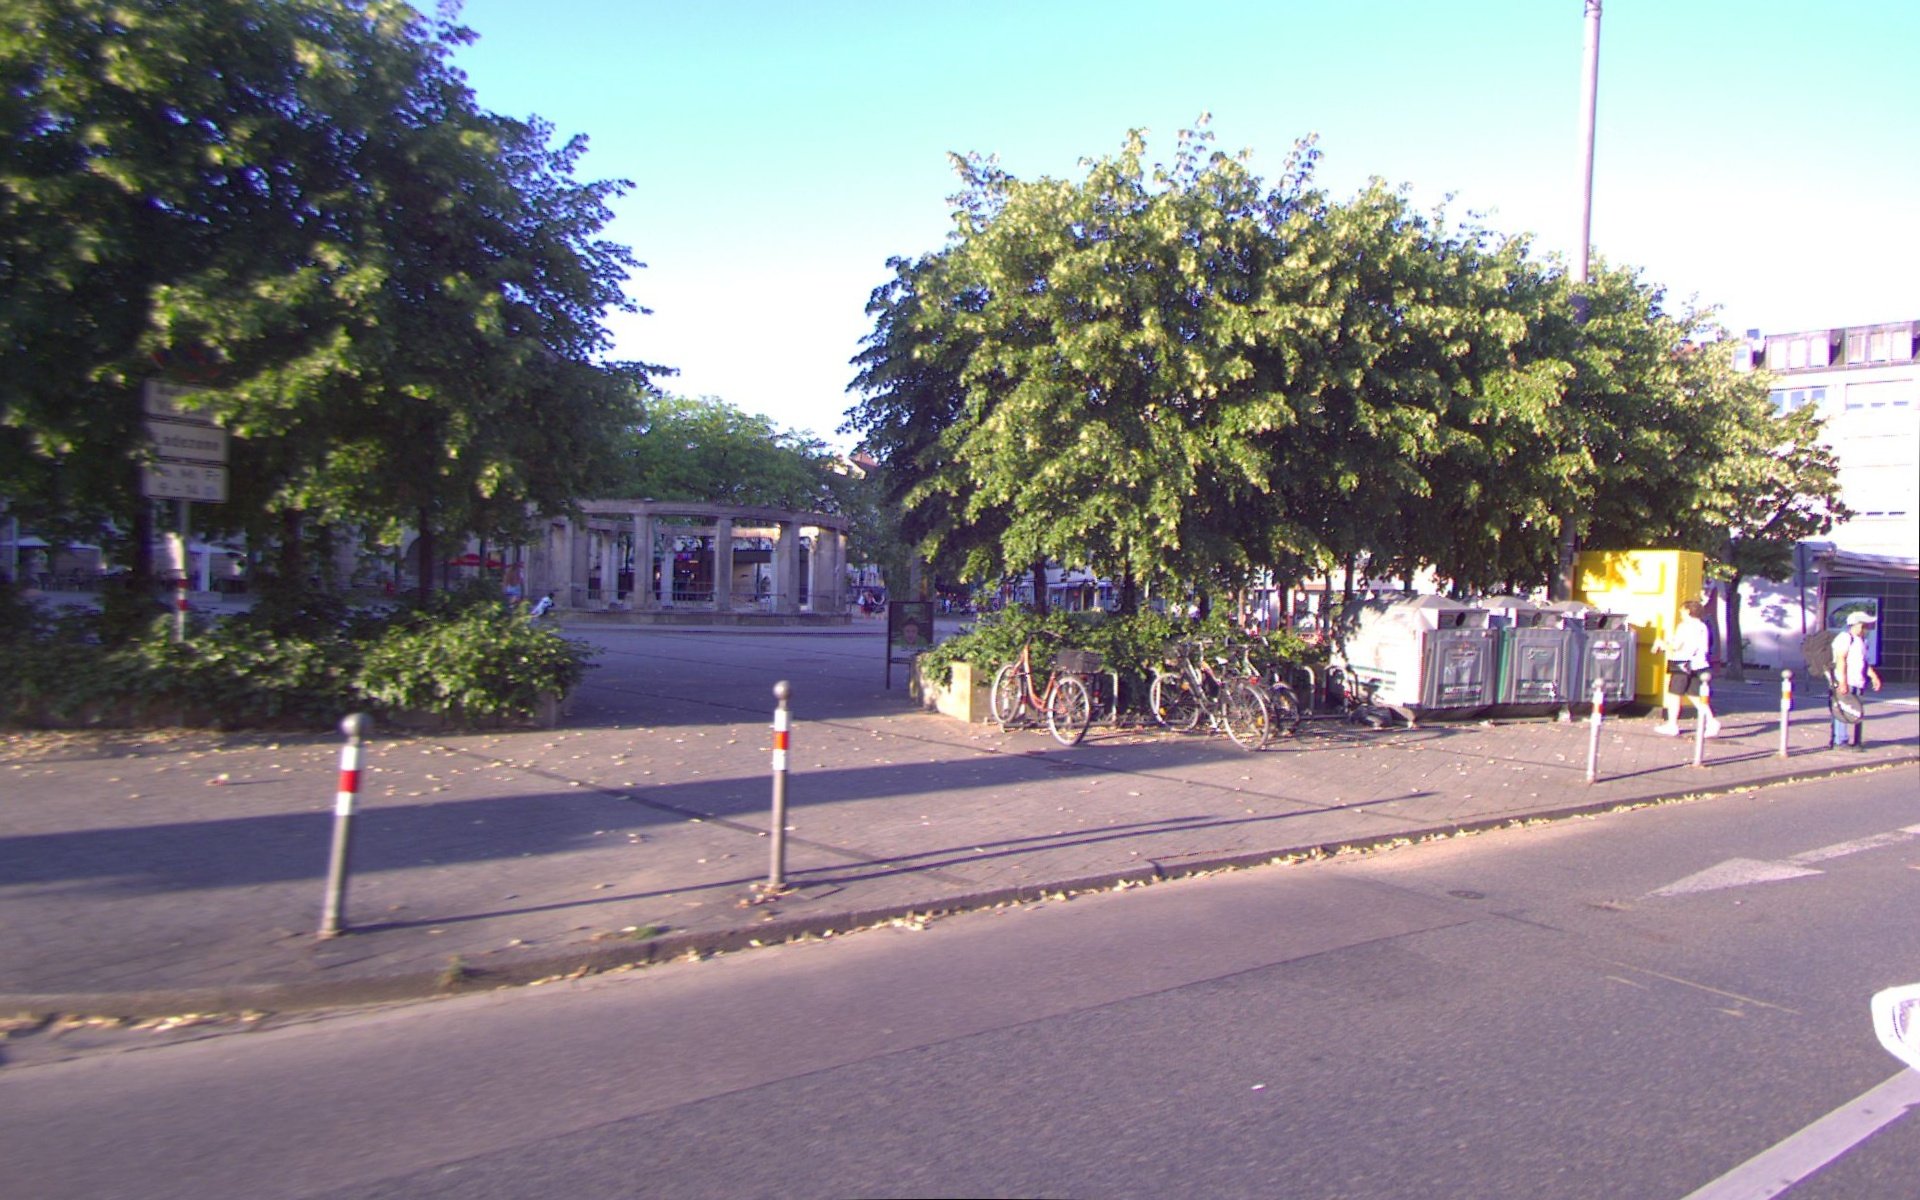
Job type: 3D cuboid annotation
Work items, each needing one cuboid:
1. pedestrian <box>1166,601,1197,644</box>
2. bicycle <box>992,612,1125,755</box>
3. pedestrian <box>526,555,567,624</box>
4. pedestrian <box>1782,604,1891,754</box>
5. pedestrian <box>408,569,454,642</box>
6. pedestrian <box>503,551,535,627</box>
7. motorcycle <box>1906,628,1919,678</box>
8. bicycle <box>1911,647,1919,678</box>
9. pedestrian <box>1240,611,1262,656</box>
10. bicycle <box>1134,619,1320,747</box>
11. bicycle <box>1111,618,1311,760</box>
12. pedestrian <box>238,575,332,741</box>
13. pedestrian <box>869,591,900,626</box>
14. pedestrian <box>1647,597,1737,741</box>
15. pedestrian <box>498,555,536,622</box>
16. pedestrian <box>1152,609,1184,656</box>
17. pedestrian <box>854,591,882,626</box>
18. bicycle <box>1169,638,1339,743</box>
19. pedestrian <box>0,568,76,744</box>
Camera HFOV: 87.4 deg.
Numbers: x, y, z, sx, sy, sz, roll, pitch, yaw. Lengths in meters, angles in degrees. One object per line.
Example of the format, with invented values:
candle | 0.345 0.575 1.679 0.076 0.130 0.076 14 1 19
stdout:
pedestrian | 9.466 0.956 42.955 1.169 1.801 0.710 2 0 5
bicycle | 0.988 0.824 10.870 0.801 1.301 2.507 2 1 -9
pedestrian | -12.019 -0.303 29.216 0.716 1.974 0.805 2 0 20
pedestrian | 10.764 0.936 12.345 0.710 1.743 0.874 1 1 -41
pedestrian | -12.243 0.119 23.253 0.789 1.632 0.526 2 1 22
pedestrian | -11.803 -0.291 26.906 0.720 1.974 0.800 1 0 -22
motorcycle | 28.731 1.563 28.579 1.100 1.445 2.401 2 0 -30
bicycle | 30.060 1.941 29.859 0.693 0.931 2.510 2 0 -32
pedestrian | 11.873 1.343 41.033 0.695 1.801 0.897 2 0 8
bicycle | 3.019 0.897 11.675 0.457 1.254 2.418 1 1 -31
bicycle | 2.645 0.894 10.959 0.512 1.254 2.418 1 2 -31
pedestrian | -8.301 0.693 12.390 0.719 1.974 0.802 1 0 -17
pedestrian | -3.377 0.399 45.079 0.963 1.521 0.988 2 0 28
pedestrian | 9.389 0.853 12.910 0.857 1.743 0.757 2 1 36
pedestrian | -13.225 -0.337 30.002 0.790 1.974 0.686 2 1 31
pedestrian | 9.262 1.459 44.799 0.944 2.040 1.056 1 1 -18
pedestrian | -4.186 0.392 45.605 0.830 1.521 0.947 2 0 30
bicycle | 3.470 1.038 12.052 0.629 0.984 2.032 1 2 -31
pedestrian | -10.948 0.627 11.672 0.719 1.974 0.802 1 0 -17
